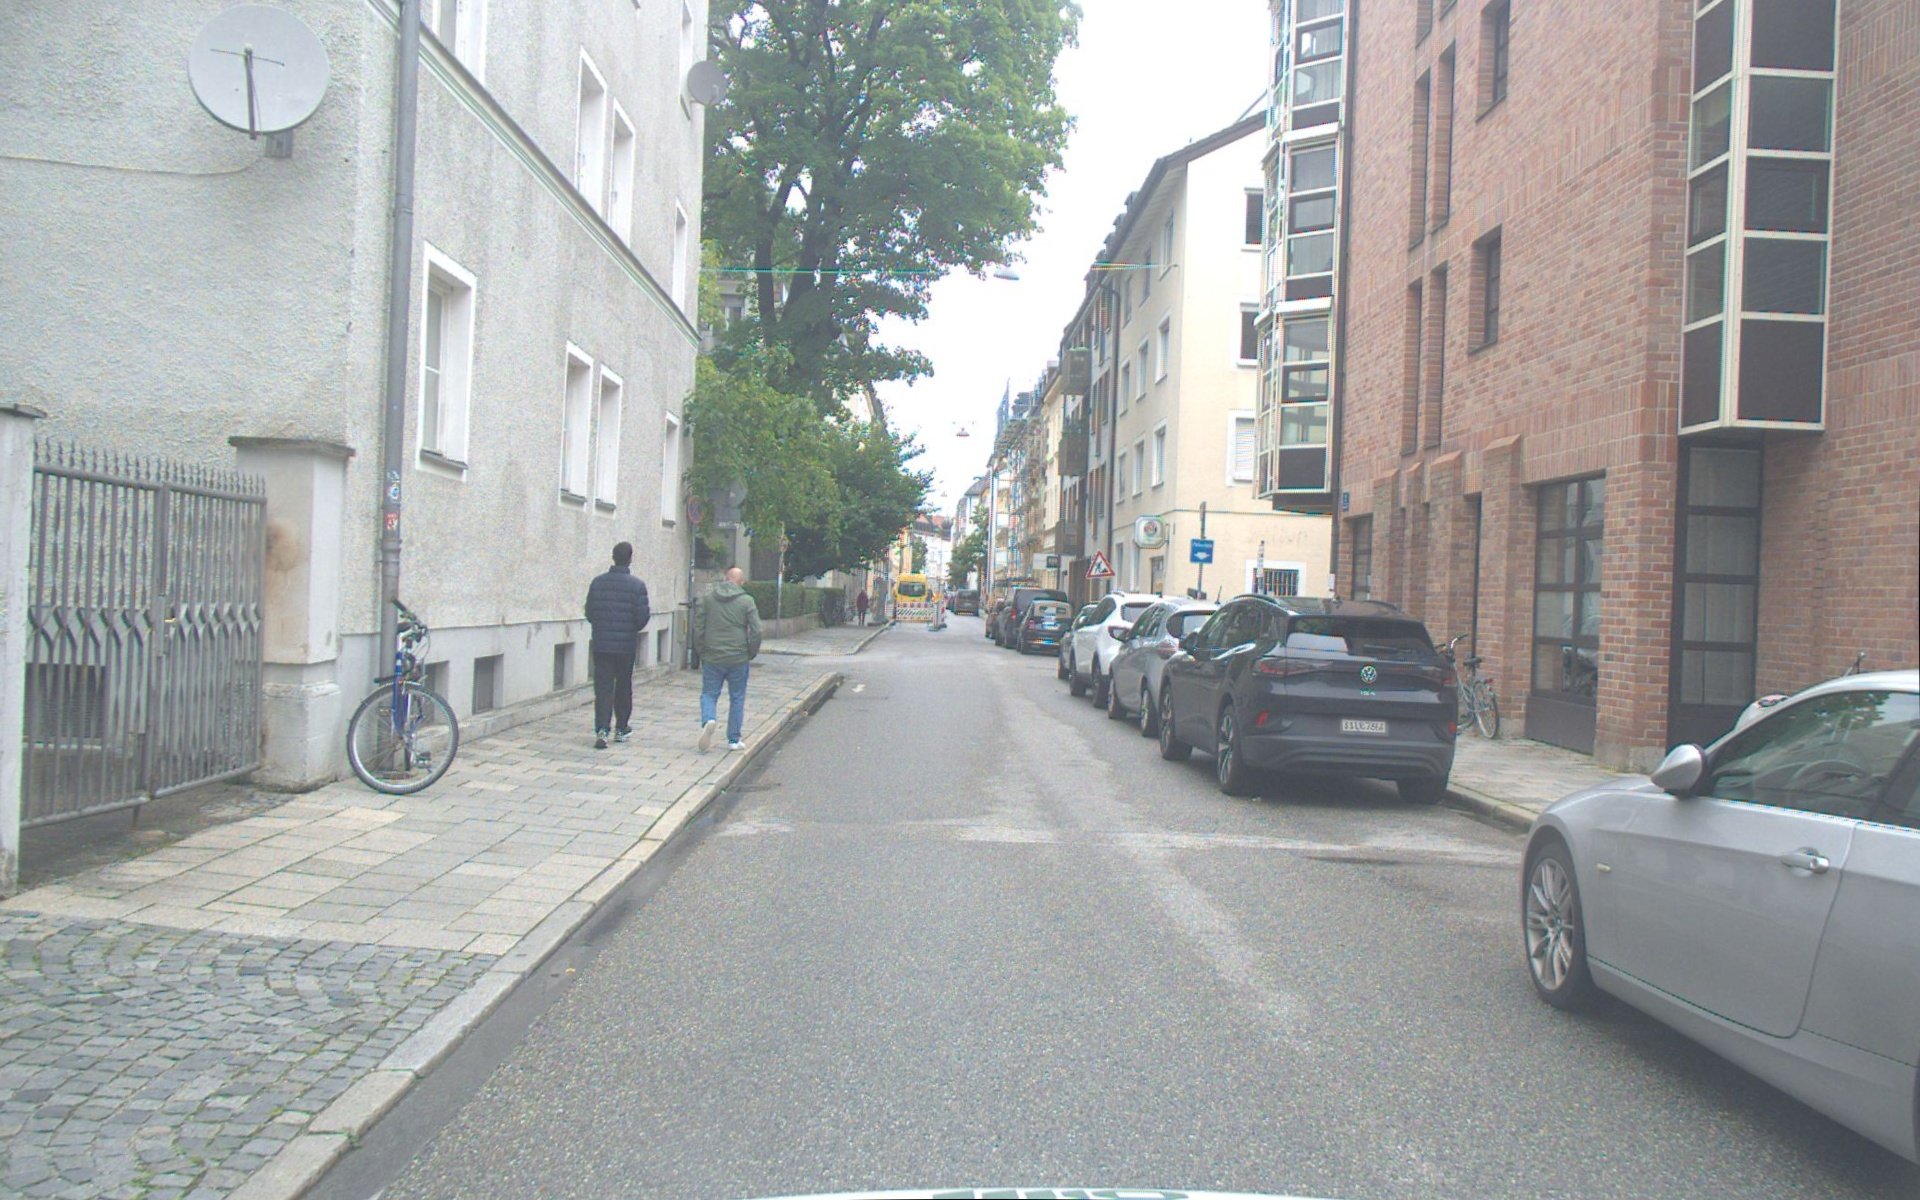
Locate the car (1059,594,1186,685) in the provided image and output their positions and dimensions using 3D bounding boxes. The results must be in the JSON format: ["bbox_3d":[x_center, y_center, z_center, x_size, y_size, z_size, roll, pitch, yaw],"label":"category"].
[{"bbox_3d":[2.878,0.668,30.088,1.709,1.470,3.998,2,0,-2],"label":"car"}]

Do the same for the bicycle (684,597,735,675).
[{"bbox_3d":[-3.870,0.535,25.472,0.465,1.130,1.751,2,0,-18],"label":"bicycle"}]

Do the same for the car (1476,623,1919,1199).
[{"bbox_3d":[3.258,0.868,4.955,1.800,1.442,4.599,2,0,-2],"label":"car"}]

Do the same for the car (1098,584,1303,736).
[{"bbox_3d":[2.844,0.675,20.354,1.687,1.664,3.878,1,0,-4],"label":"car"}]

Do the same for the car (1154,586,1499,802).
[{"bbox_3d":[3.060,0.706,14.799,1.848,1.582,4.389,2,0,-3],"label":"car"}]

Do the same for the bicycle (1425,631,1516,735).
[{"bbox_3d":[5.861,0.936,19.070,0.548,1.098,1.471,2,0,-1],"label":"bicycle"}]

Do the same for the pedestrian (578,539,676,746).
[{"bbox_3d":[-2.922,0.366,14.581,0.600,1.743,0.823,4,-1,-2],"label":"pedestrian"}]

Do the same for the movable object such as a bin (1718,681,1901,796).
[{"bbox_3d":[6.977,1.125,13.632,1.064,0.846,0.843,2,0,0],"label":"movable object such as a bin"}]

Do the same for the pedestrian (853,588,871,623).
[{"bbox_3d":[-4.229,0.236,71.294,0.740,1.517,0.831,1,-1,-1],"label":"pedestrian"}]

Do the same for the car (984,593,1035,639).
[{"bbox_3d":[1.857,0.596,63.141,1.603,1.541,3.828,5,0,-2],"label":"car"}]

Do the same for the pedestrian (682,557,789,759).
[{"bbox_3d":[-1.974,0.499,14.646,0.738,1.688,0.906,4,-1,-1],"label":"pedestrian"}]

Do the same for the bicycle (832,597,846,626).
[{"bbox_3d":[-4.740,0.451,64.871,0.437,1.092,2.466,1,0,-3],"label":"bicycle"}]

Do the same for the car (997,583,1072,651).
[{"bbox_3d":[2.264,0.489,51.268,1.766,1.851,3.997,5,0,-3],"label":"car"}]

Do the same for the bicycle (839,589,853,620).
[{"bbox_3d":[-5.348,0.220,77.662,0.504,1.442,1.933,1,0,-1],"label":"bicycle"}]

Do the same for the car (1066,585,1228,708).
[{"bbox_3d":[2.718,0.630,24.927,1.714,1.658,4.194,1,0,-3],"label":"car"}]

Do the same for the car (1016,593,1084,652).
[{"bbox_3d":[2.513,0.607,46.913,1.592,1.513,3.807,2,0,-1],"label":"car"}]

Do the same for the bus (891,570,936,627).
[{"bbox_3d":[-2.687,-0.075,96.997,2.540,3.156,6.304,1,0,-1],"label":"bus"}]

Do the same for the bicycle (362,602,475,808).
[{"bbox_3d":[-3.579,0.638,10.867,0.632,1.239,1.655,1,0,-20],"label":"bicycle"}]

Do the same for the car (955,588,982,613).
[{"bbox_3d":[0.667,0.047,129.042,1.766,1.741,3.824,5,0,-3],"label":"car"}]
